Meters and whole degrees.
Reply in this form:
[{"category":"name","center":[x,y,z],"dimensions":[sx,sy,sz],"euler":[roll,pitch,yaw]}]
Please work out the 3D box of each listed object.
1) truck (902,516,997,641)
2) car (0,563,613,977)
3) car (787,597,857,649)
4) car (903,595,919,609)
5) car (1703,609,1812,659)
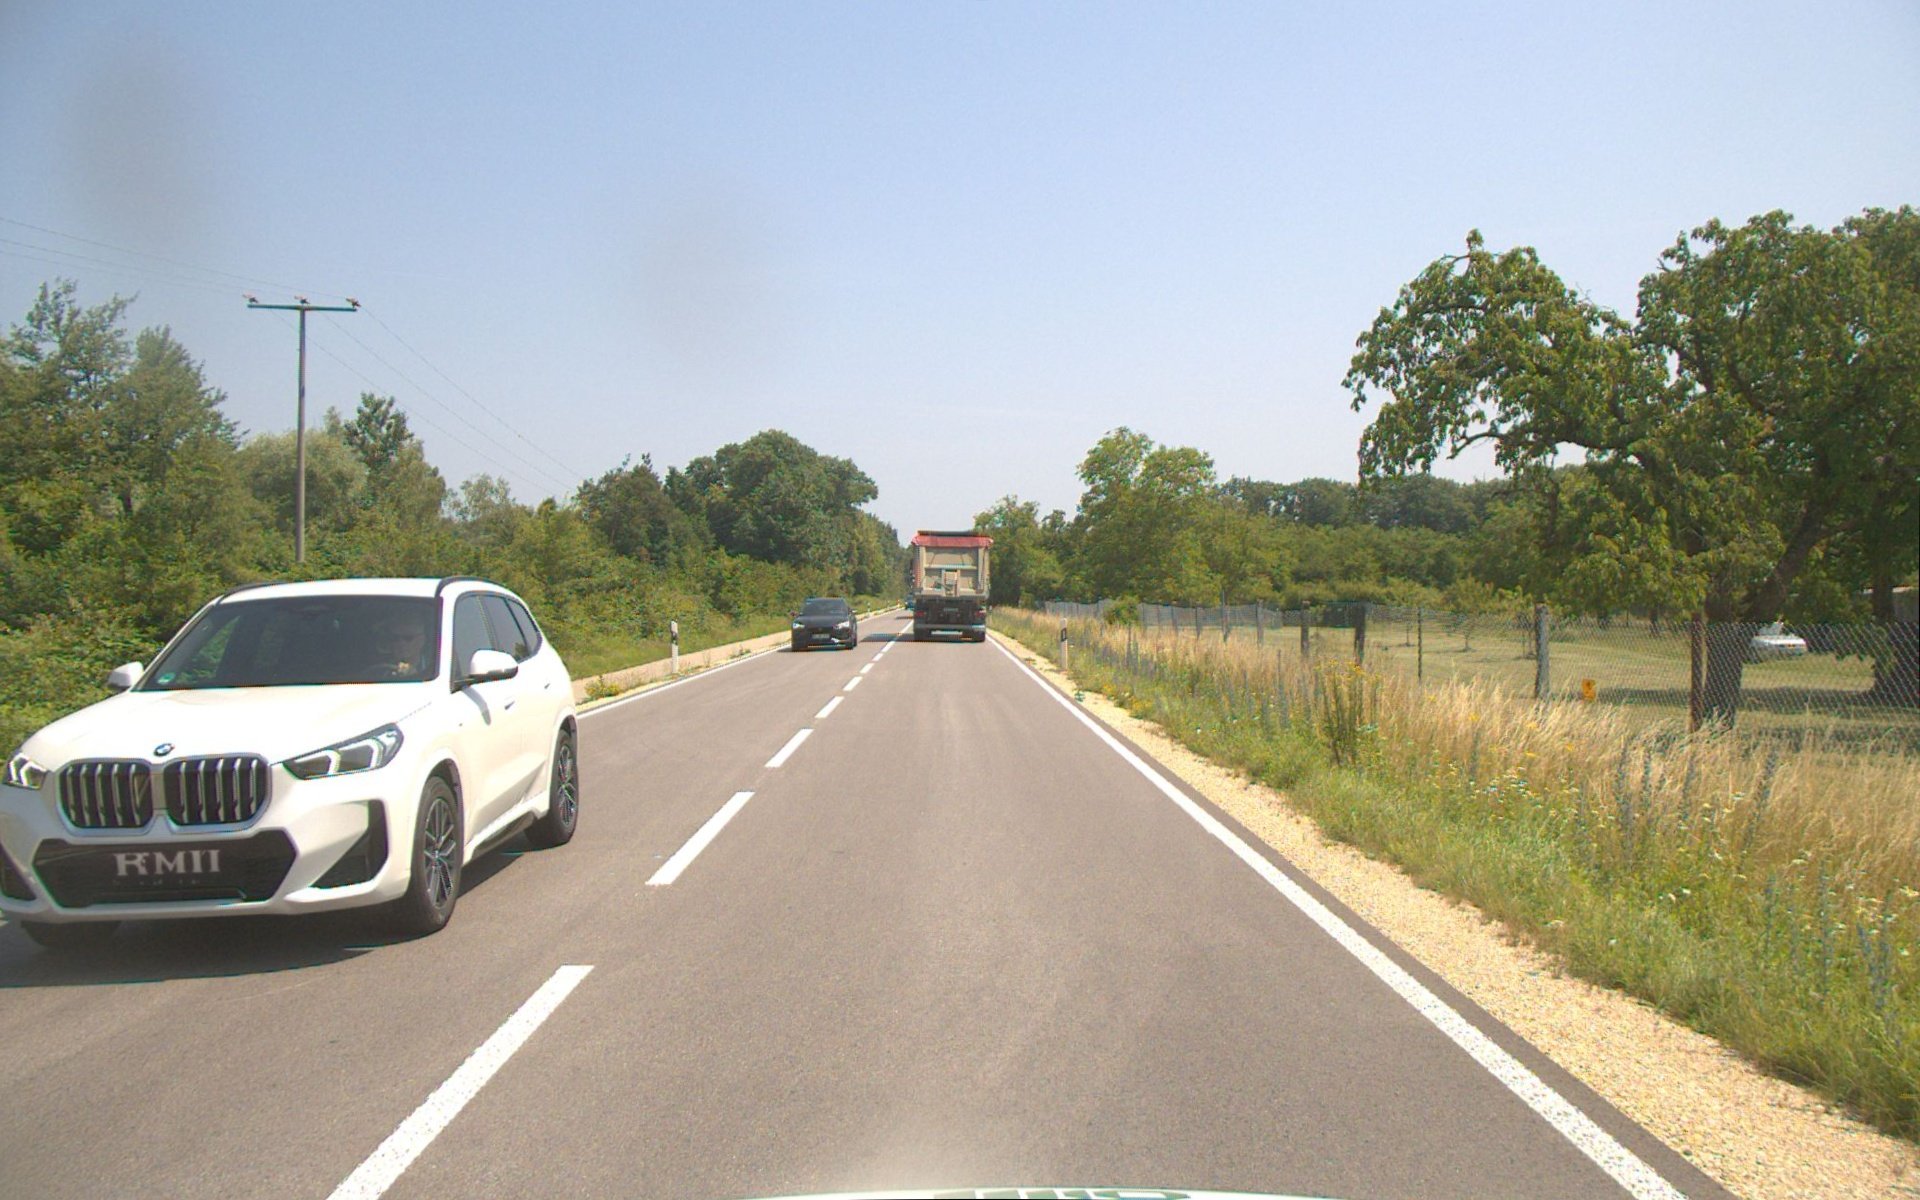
[{"category":"truck","center":[-0.428,-0.675,59.614],"dimensions":[2.948,3.942,12.206],"euler":[2,0,-1]},{"category":"car","center":[-3.205,0.688,9.007],"dimensions":[1.722,1.634,4.480],"euler":[-2,0,-1]},{"category":"car","center":[-3.972,0.630,48.204],"dimensions":[1.722,1.381,4.045],"euler":[-2,0,-1]},{"category":"car","center":[-5.765,0.212,195.375],"dimensions":[1.722,1.567,4.045],"euler":[-2,0,-1]},{"category":"car","center":[26.127,1.096,54.301],"dimensions":[1.563,1.512,3.421],"euler":[0,1,-9]}]
